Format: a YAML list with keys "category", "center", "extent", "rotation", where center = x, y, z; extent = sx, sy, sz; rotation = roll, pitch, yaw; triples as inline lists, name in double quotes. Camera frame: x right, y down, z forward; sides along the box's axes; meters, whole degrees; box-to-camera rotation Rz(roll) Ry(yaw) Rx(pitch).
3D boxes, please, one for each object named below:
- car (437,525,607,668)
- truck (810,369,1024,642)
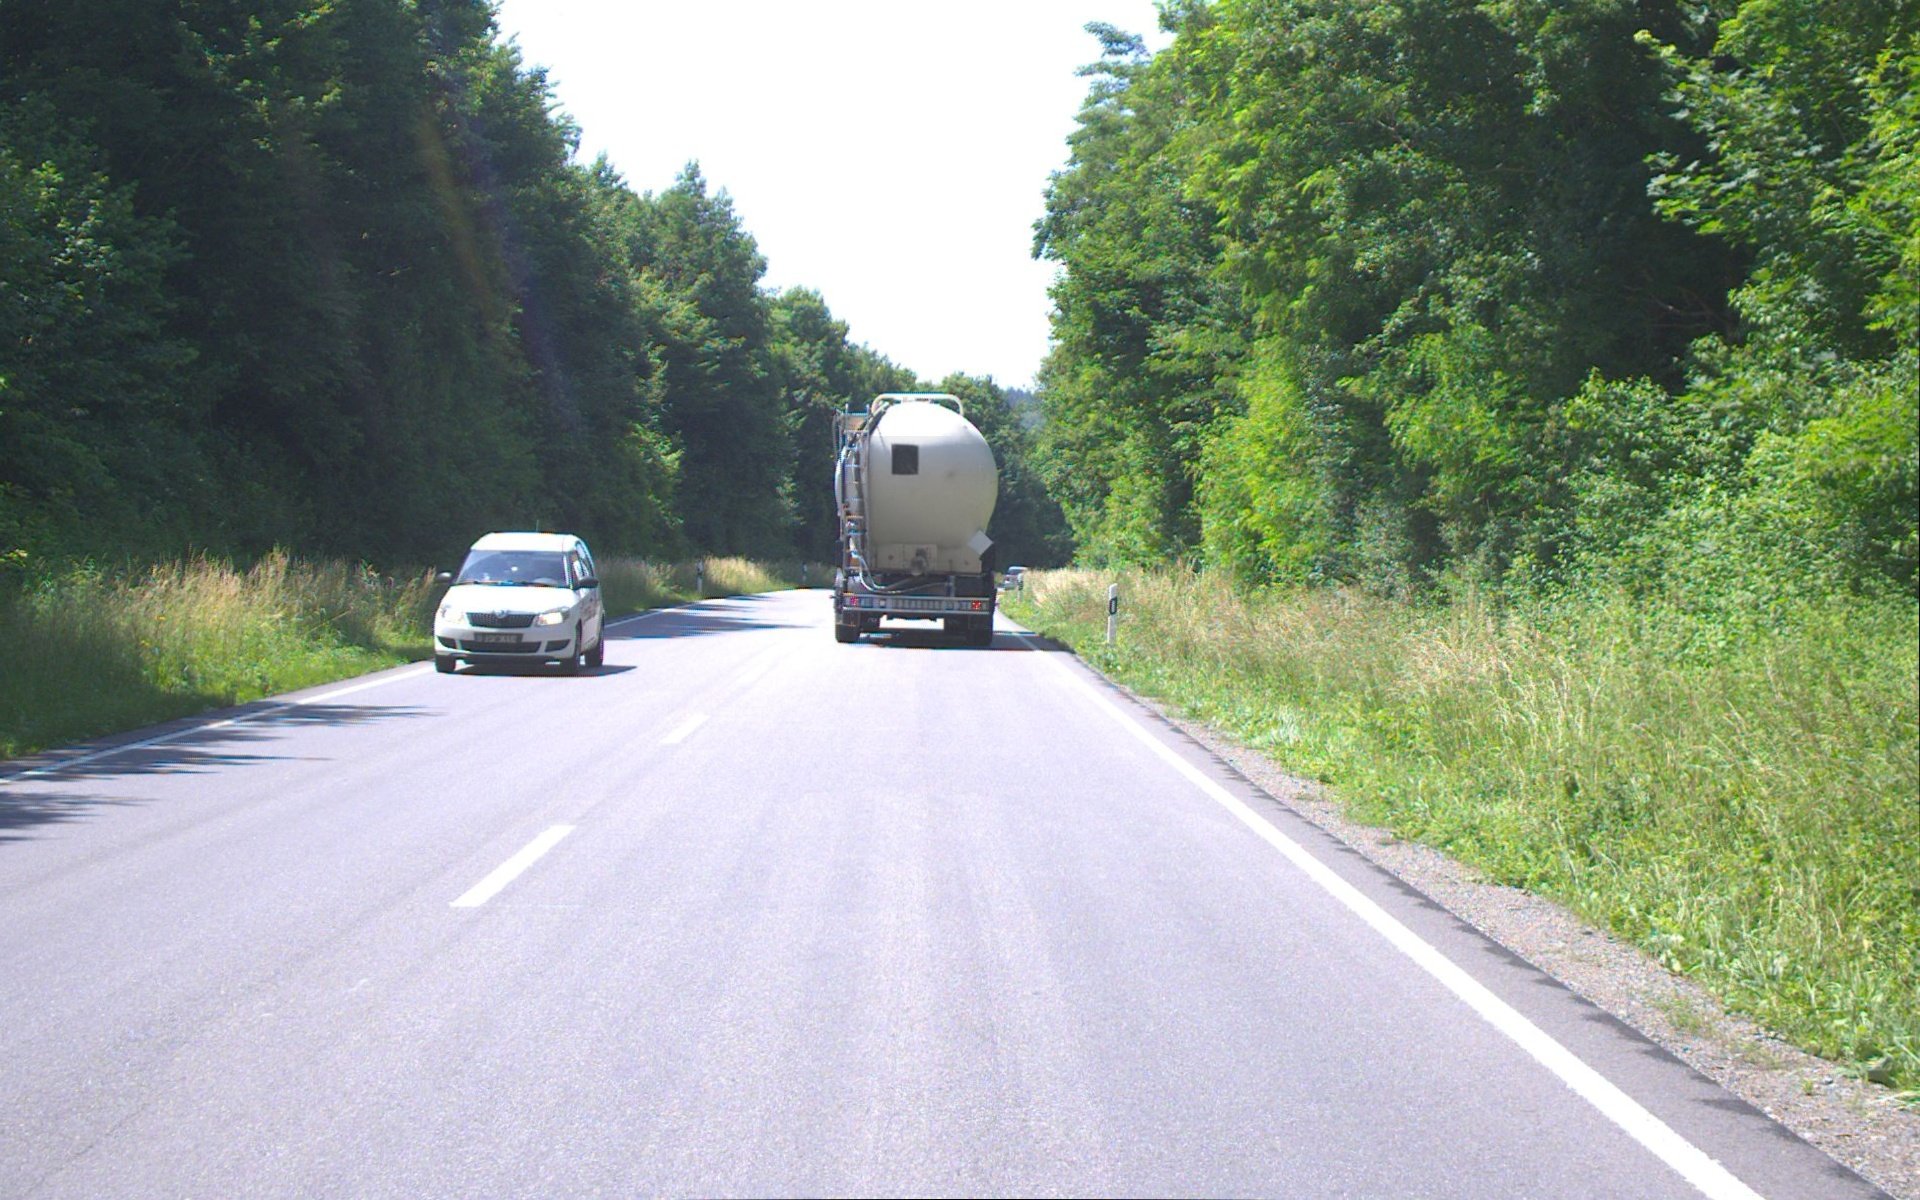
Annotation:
- category: "car"
  center: [-5.107, -0.073, 40.449]
  extent: [1.512, 1.587, 3.793]
  rotation: [1, 1, 0]
- category: "truck"
  center: [-0.768, -1.520, 59.881]
  extent: [3.049, 3.984, 15.637]
  rotation: [3, 1, -1]
